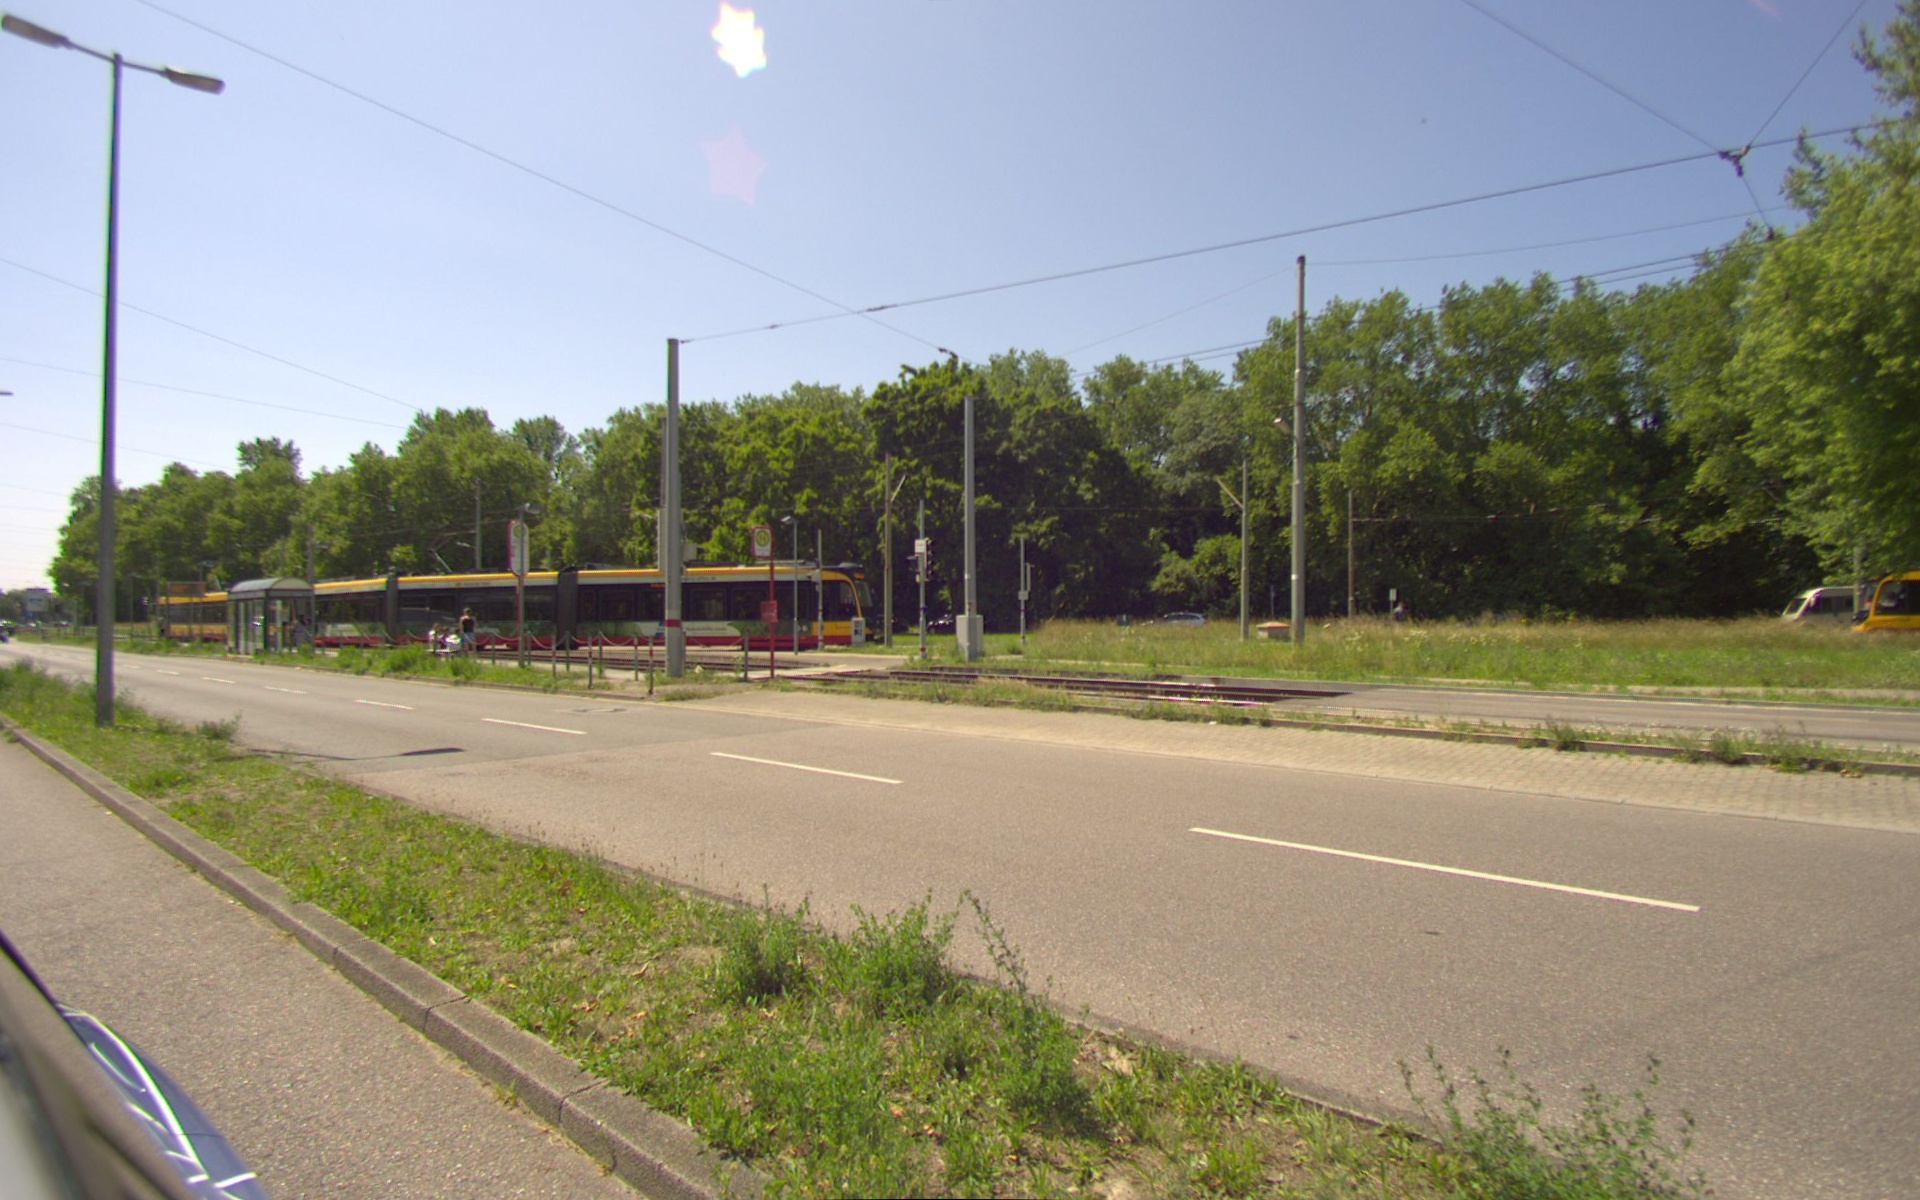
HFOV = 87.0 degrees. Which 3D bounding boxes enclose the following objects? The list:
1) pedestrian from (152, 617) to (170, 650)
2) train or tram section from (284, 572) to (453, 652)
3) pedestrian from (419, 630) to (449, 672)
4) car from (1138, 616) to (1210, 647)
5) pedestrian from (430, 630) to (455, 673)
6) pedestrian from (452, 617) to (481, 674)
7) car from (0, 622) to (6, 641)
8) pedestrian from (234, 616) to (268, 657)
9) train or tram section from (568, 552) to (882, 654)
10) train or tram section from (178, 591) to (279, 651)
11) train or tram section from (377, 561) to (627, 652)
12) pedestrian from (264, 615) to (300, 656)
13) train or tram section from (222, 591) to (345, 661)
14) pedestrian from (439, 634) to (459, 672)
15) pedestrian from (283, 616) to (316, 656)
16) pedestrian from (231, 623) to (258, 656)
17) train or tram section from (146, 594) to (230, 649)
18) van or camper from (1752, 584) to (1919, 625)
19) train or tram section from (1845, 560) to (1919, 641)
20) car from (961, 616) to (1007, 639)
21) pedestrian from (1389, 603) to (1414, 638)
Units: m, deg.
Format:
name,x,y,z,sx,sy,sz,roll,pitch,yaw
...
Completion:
name,x,y,z,sx,sy,sz,roll,pitch,yaw
pedestrian,-44.403,1.877,56.264,0.776,1.804,0.625,-2,0,40
train or tram section,-30.606,0.645,51.896,13.887,3.651,3.013,-1,0,40
pedestrian,-15.428,1.478,29.676,0.535,1.198,0.575,-2,0,37
car,13.113,1.919,61.983,3.975,1.741,1.985,-1,0,23
pedestrian,-15.025,1.485,29.380,0.400,1.198,0.489,-2,0,38
pedestrian,-14.146,1.301,29.023,0.582,1.577,0.529,-2,0,41
car,-79.260,2.554,82.506,3.717,1.516,1.751,-1,-1,40
pedestrian,-28.126,1.441,40.150,1.025,1.558,0.865,-1,0,40
train or tram section,-9.516,0.179,40.921,12.334,3.651,3.039,-2,0,15
train or tram section,-50.326,1.449,69.421,12.592,3.769,3.011,-1,0,42
train or tram section,-20.517,0.367,44.921,12.388,3.651,3.026,-1,0,27
pedestrian,-26.768,1.404,39.955,0.985,1.558,0.921,-1,0,40
train or tram section,-40.811,1.514,60.766,13.259,3.795,3.011,-1,0,43
pedestrian,-14.713,1.528,29.144,0.377,1.066,0.379,-2,0,40
pedestrian,-25.824,1.407,39.586,0.878,1.519,0.826,-1,0,40
pedestrian,-28.953,1.589,40.942,0.839,1.293,0.694,-1,0,40
train or tram section,-59.210,1.607,77.479,11.537,3.884,2.919,-1,0,42
van or camper,47.175,0.258,54.055,7.313,2.029,1.984,-1,0,24
train or tram section,46.225,-0.091,42.556,13.241,3.492,3.009,-1,0,37
car,1.761,2.029,74.423,3.058,1.608,1.375,-1,0,29
pedestrian,20.427,0.962,46.819,0.779,1.586,0.692,-2,0,-4
